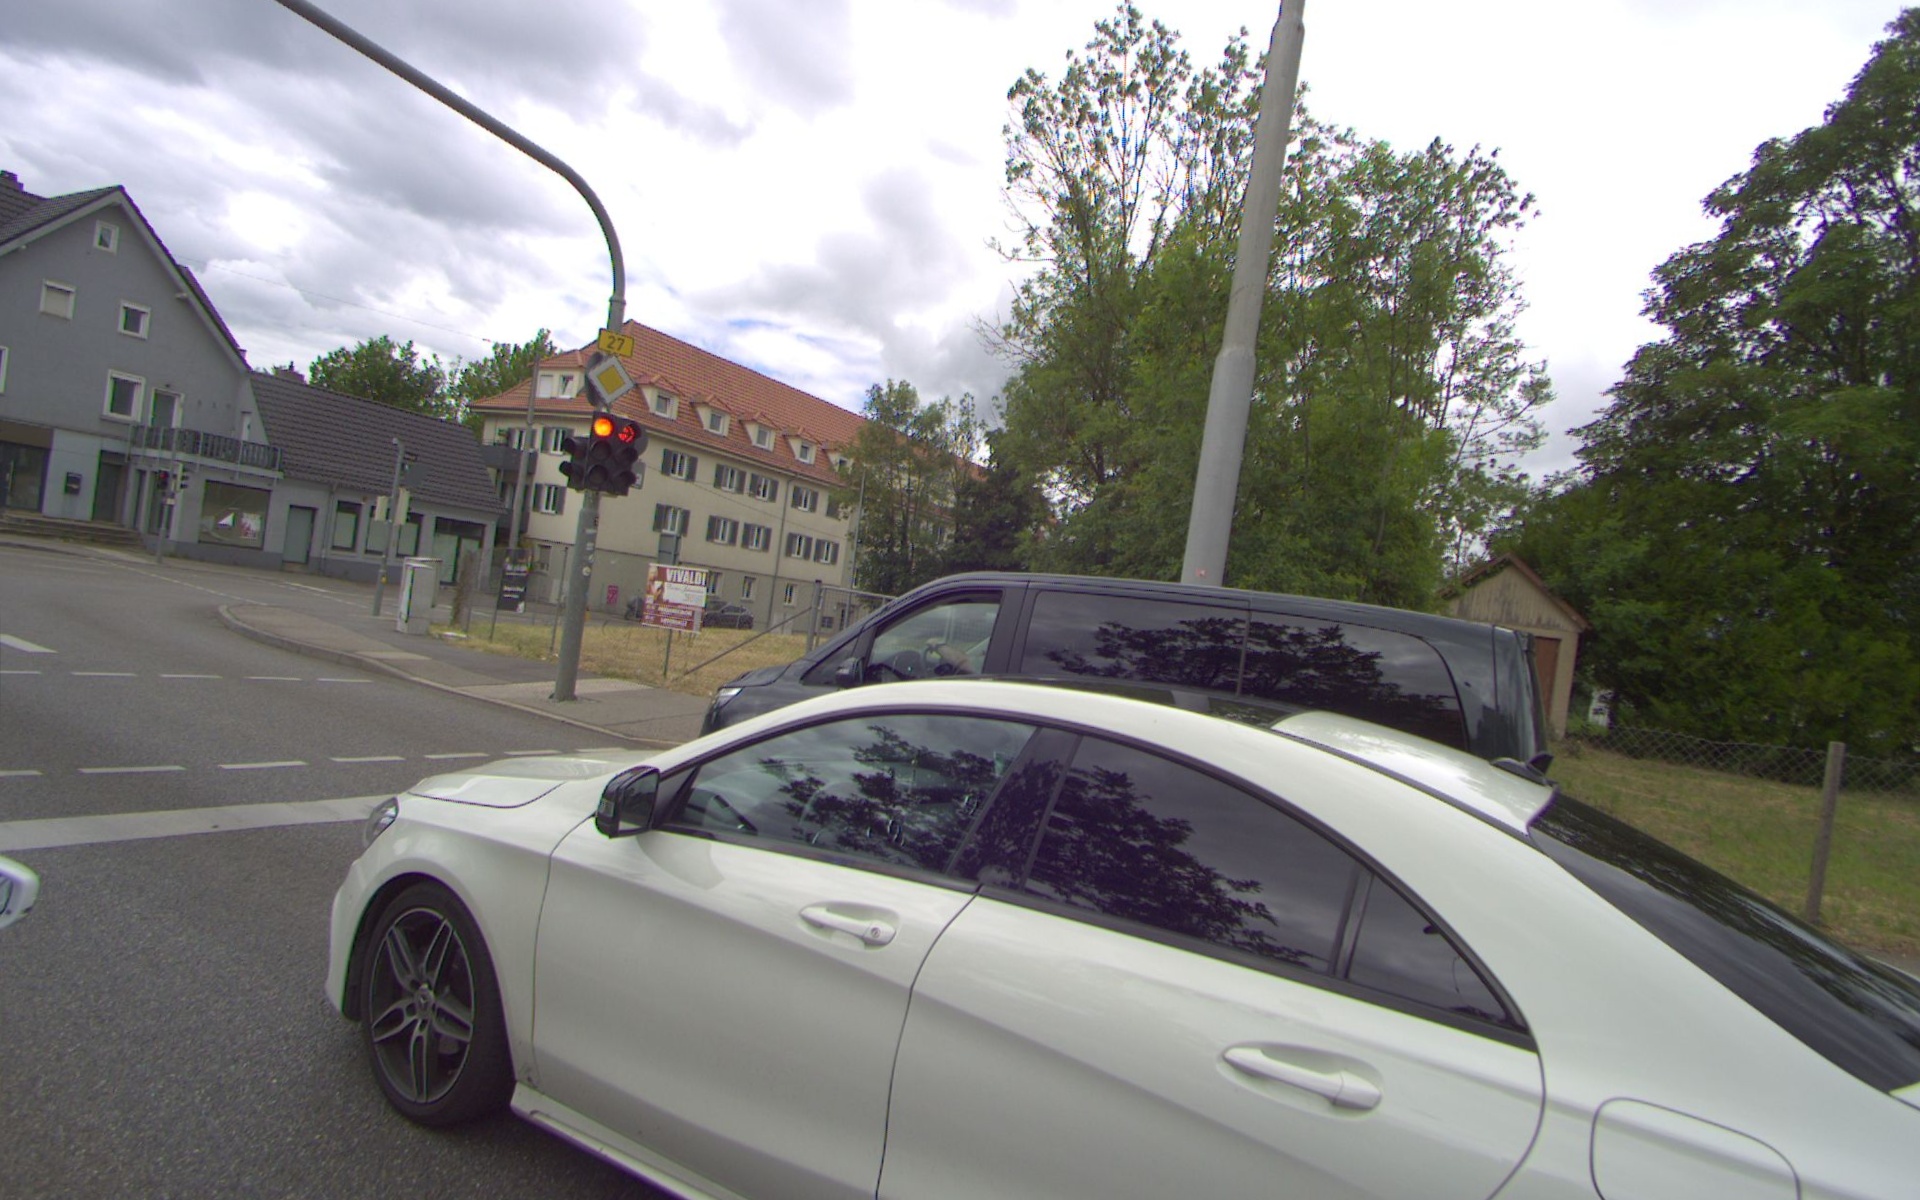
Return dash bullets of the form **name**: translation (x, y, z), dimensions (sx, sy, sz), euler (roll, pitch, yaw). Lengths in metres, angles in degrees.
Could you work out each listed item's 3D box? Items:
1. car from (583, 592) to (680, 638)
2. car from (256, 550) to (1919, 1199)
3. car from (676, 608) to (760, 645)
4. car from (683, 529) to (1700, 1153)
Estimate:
- **car**: translation (-15.515, 0.740, 47.658), dimensions (1.839, 1.554, 3.996), euler (7, -2, 32)
- **car**: translation (0.165, 0.846, 2.639), dimensions (4.305, 1.451, 1.651), euler (7, 0, 32)
- **car**: translation (-12.620, 1.402, 52.647), dimensions (1.839, 1.393, 3.996), euler (7, -2, 32)
- **car**: translation (0.957, 0.843, 5.495), dimensions (4.631, 1.860, 1.953), euler (7, -2, 32)
